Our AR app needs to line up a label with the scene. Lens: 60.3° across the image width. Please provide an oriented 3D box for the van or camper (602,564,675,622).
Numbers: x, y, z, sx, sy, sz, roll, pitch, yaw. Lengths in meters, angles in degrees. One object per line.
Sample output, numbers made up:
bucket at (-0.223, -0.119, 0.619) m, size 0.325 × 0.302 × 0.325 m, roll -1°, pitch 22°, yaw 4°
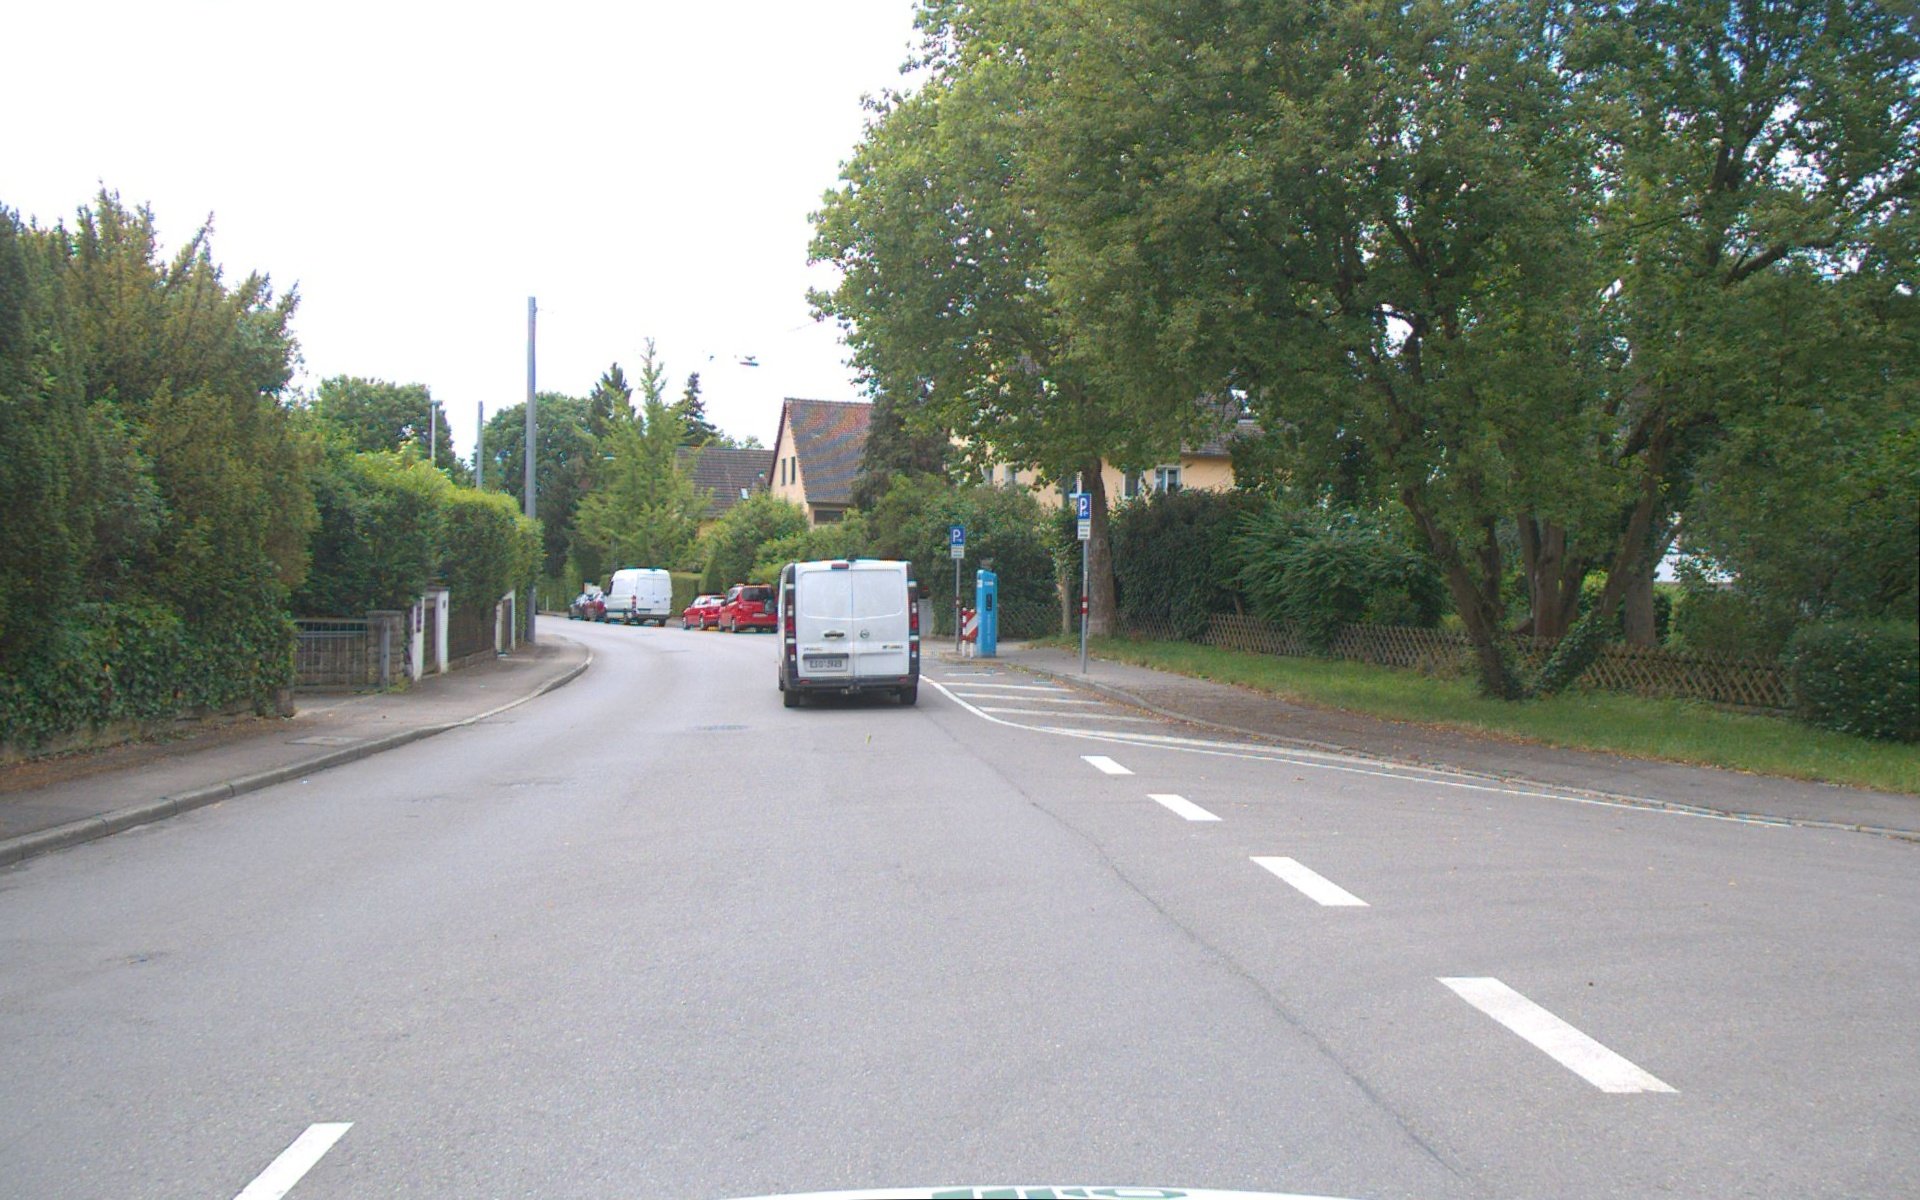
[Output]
van or camper at (-15.648, -0.359, 80.264) m, size 2.040 × 2.721 × 6.279 m, roll 1°, pitch 0°, yaw -25°

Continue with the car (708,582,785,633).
car at (-8.137, 0.264, 62.664) m, size 1.736 × 1.828 × 4.916 m, roll 1°, pitch 0°, yaw -22°

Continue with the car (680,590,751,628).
car at (-9.991, 0.353, 67.299) m, size 1.691 × 1.493 × 4.233 m, roll 1°, pitch 0°, yaw -25°

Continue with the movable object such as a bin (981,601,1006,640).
movable object such as a bin at (0.940, 0.590, 46.978) m, size 0.592 × 1.088 × 0.567 m, roll 2°, pitch -1°, yaw -8°

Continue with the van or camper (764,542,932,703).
van or camper at (-1.727, 0.228, 23.854) m, size 1.889 × 2.048 × 4.819 m, roll 2°, pitch 1°, yaw -10°

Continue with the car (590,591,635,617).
car at (-18.293, 0.200, 86.982) m, size 1.510 × 1.327 × 4.000 m, roll 1°, pitch 0°, yaw -24°
